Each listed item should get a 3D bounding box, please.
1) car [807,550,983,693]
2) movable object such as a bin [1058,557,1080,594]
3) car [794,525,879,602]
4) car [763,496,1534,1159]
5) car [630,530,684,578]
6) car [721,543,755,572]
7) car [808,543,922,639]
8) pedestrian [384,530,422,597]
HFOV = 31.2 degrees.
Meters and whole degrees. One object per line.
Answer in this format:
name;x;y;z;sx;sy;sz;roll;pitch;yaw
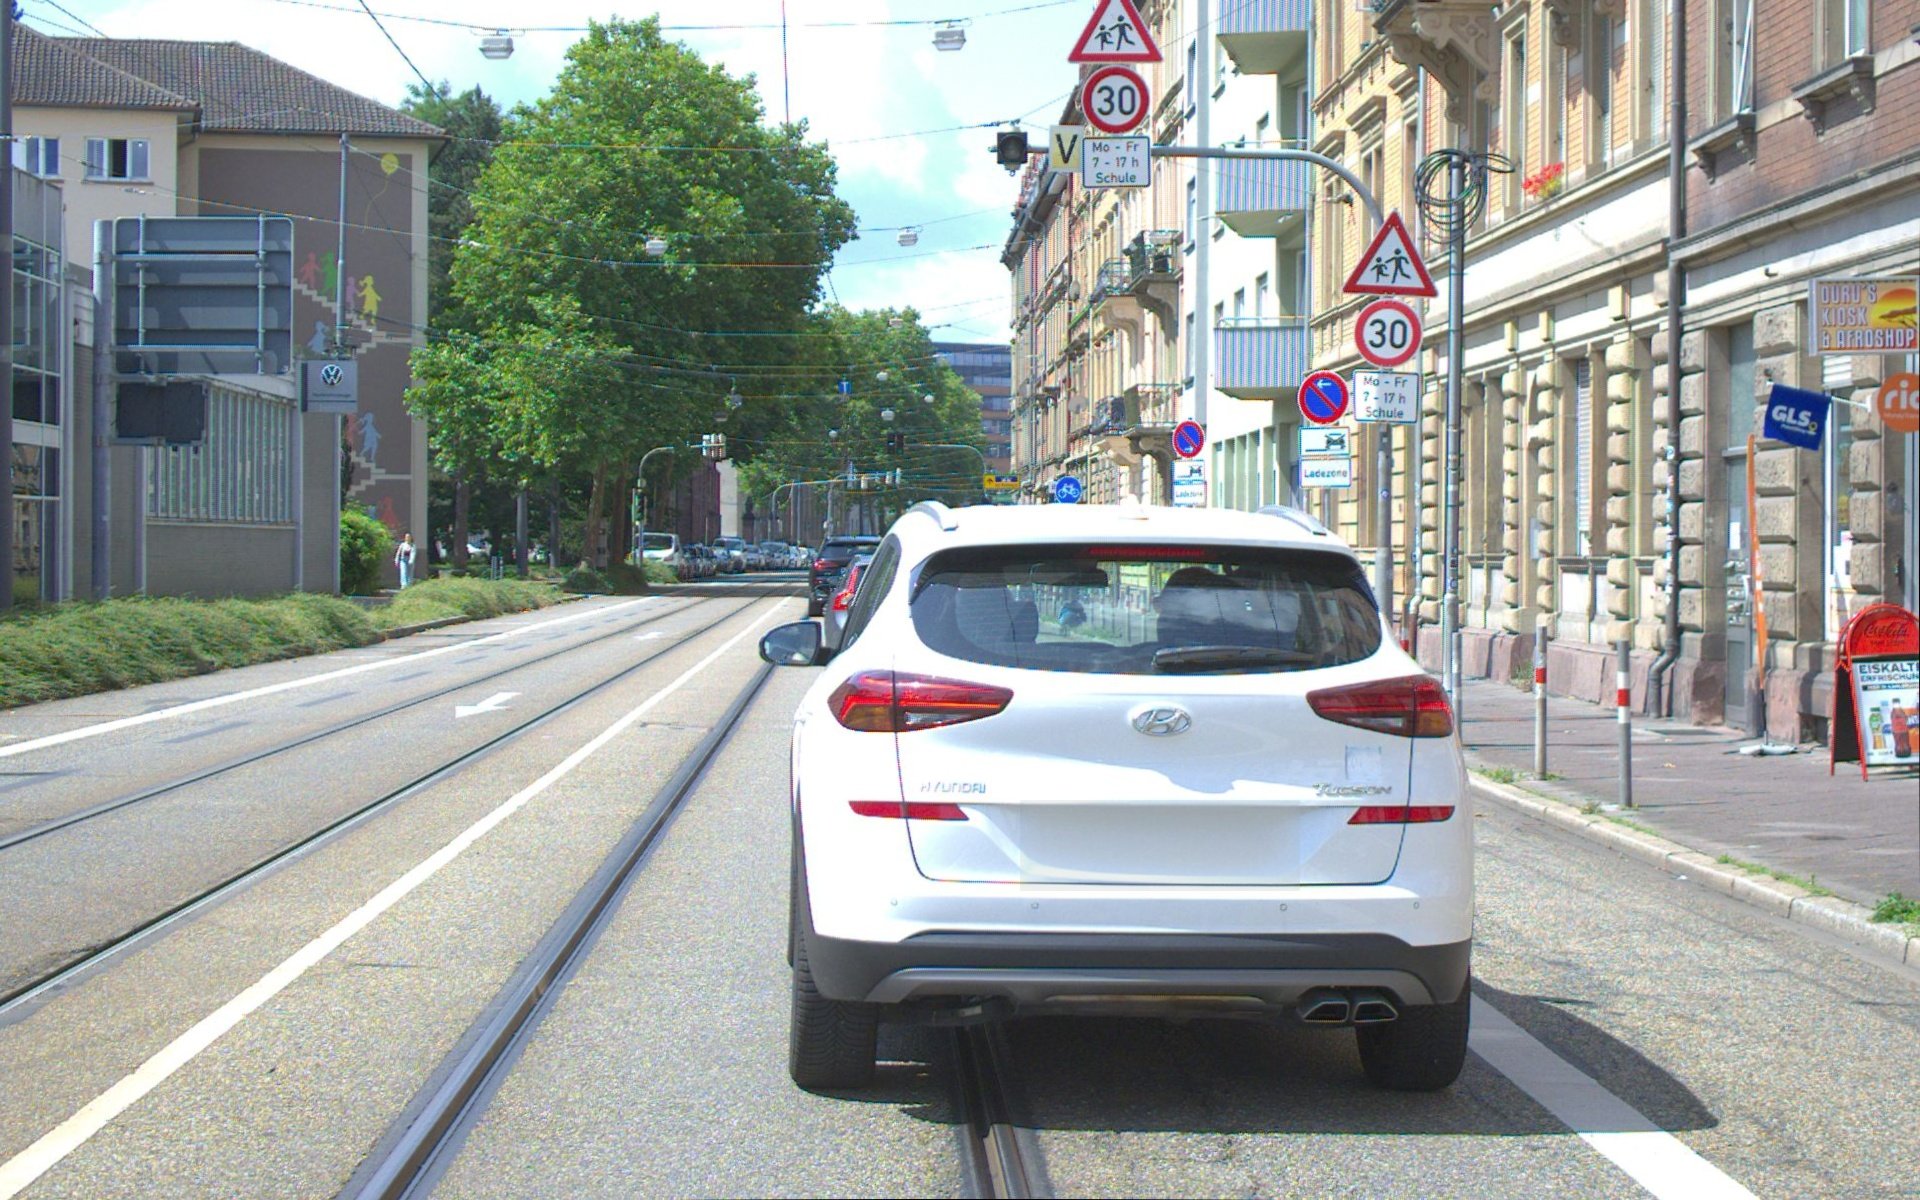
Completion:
car;-0.690;0.200;39.049;1.814;1.519;4.085;0;1;1
movable object such as a bin;3.351;-0.756;105.494;0.612;1.139;0.638;1;1;-1
car;-2.717;-0.820;75.998;1.814;1.656;4.085;1;1;-2
car;0.361;0.541;10.734;1.852;1.628;4.181;2;1;-4
car;-12.424;-1.910;141.183;1.950;1.888;4.566;1;1;-2
car;-13.244;-2.555;205.242;1.950;1.626;4.001;1;1;-4
car;-1.576;-0.174;56.823;1.814;1.519;3.956;0;1;-2
pedestrian;-15.486;-1.024;95.670;0.880;1.859;1.081;0;1;-1
